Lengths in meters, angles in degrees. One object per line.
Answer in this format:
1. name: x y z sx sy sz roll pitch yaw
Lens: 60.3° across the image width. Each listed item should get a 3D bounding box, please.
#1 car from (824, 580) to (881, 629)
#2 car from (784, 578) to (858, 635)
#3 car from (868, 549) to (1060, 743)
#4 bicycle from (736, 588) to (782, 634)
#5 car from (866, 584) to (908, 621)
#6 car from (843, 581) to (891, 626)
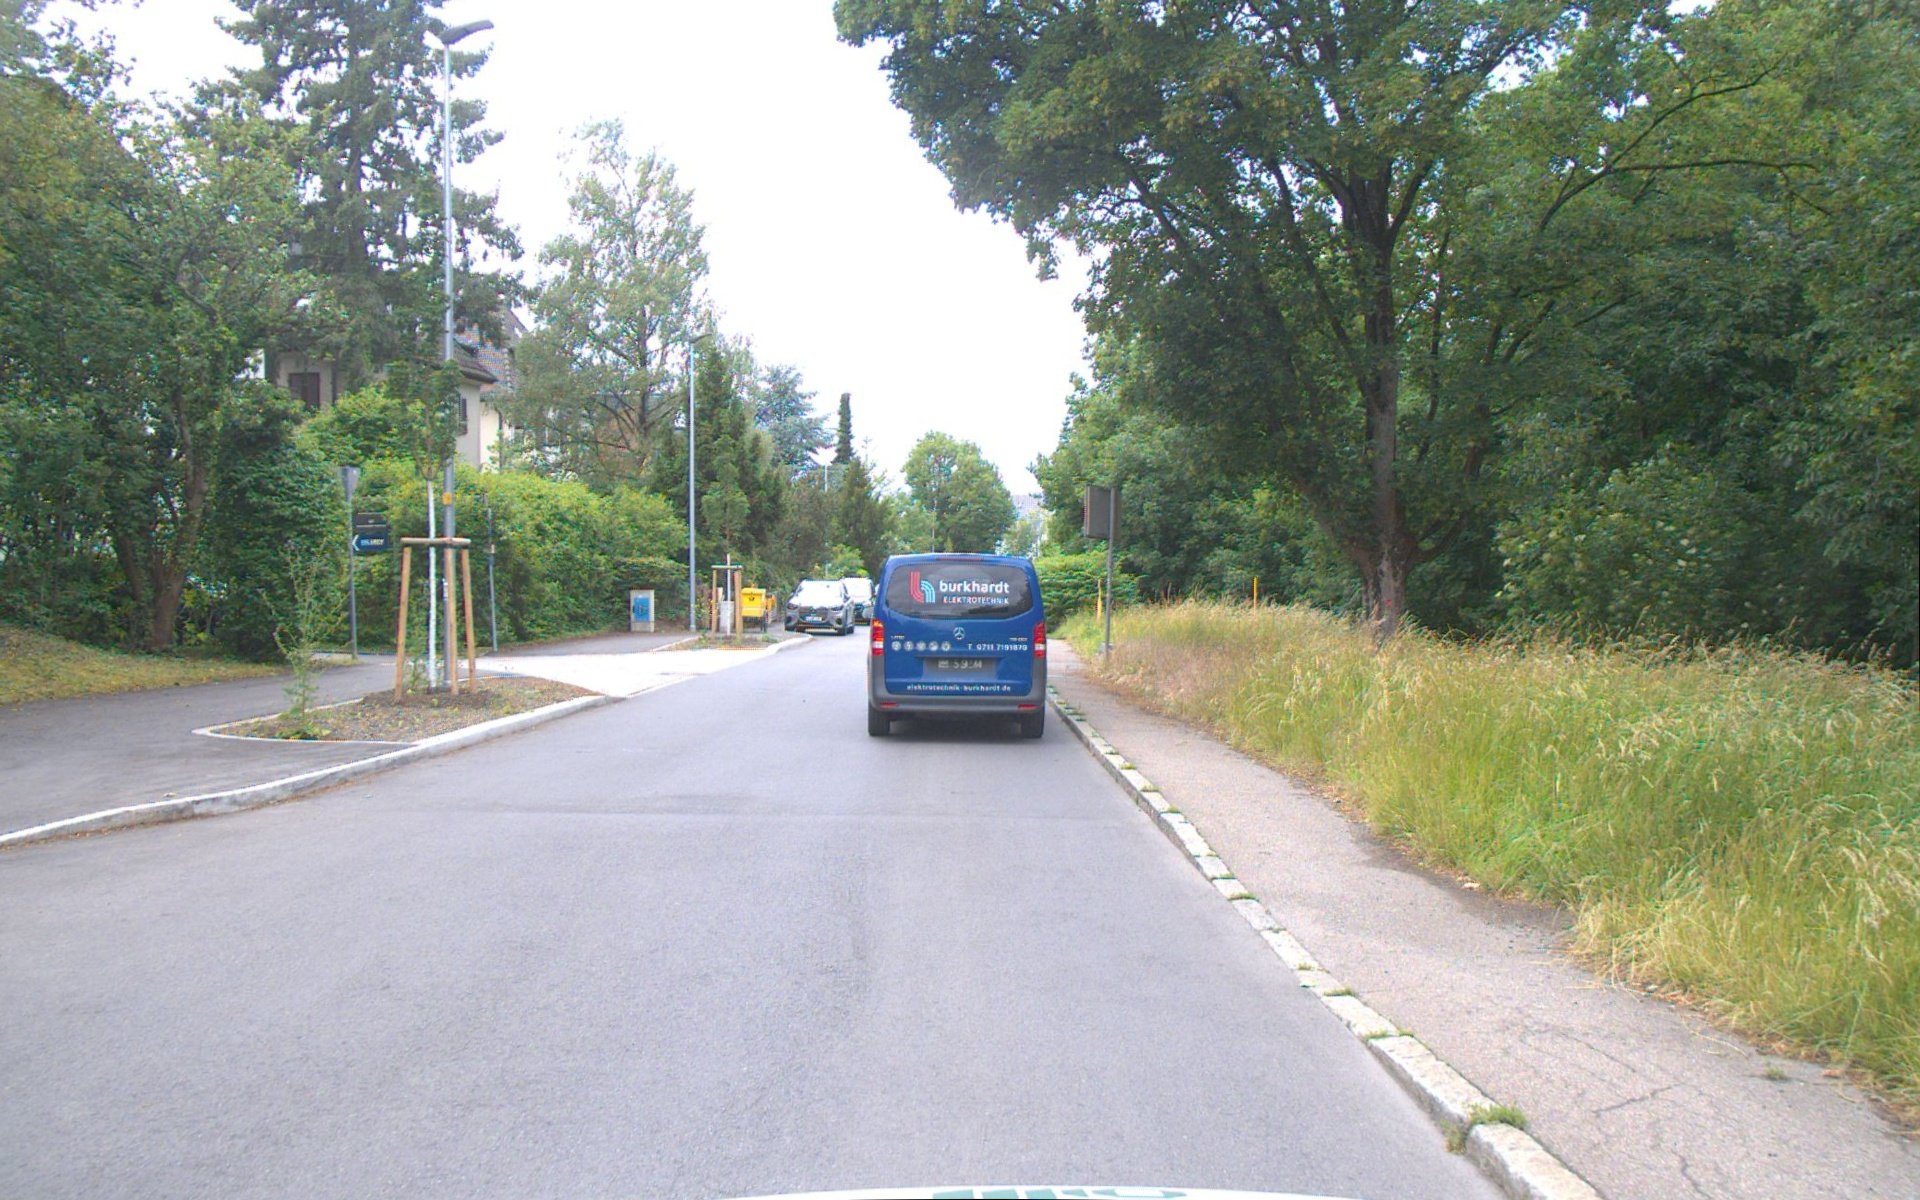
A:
1. car: -4.148 0.146 64.346 1.794 1.782 4.001 1 1 1
2. car: -4.267 0.191 51.443 1.798 1.659 4.301 1 0 1
3. car: -0.065 0.395 18.233 1.851 1.876 3.998 1 2 -3
4. bicycle: -5.866 0.315 48.522 0.887 1.273 2.916 2 0 1
5. car: -3.754 0.116 85.992 1.853 1.721 4.550 1 2 1
6. car: -3.947 0.145 70.512 1.794 1.836 4.000 1 0 0
